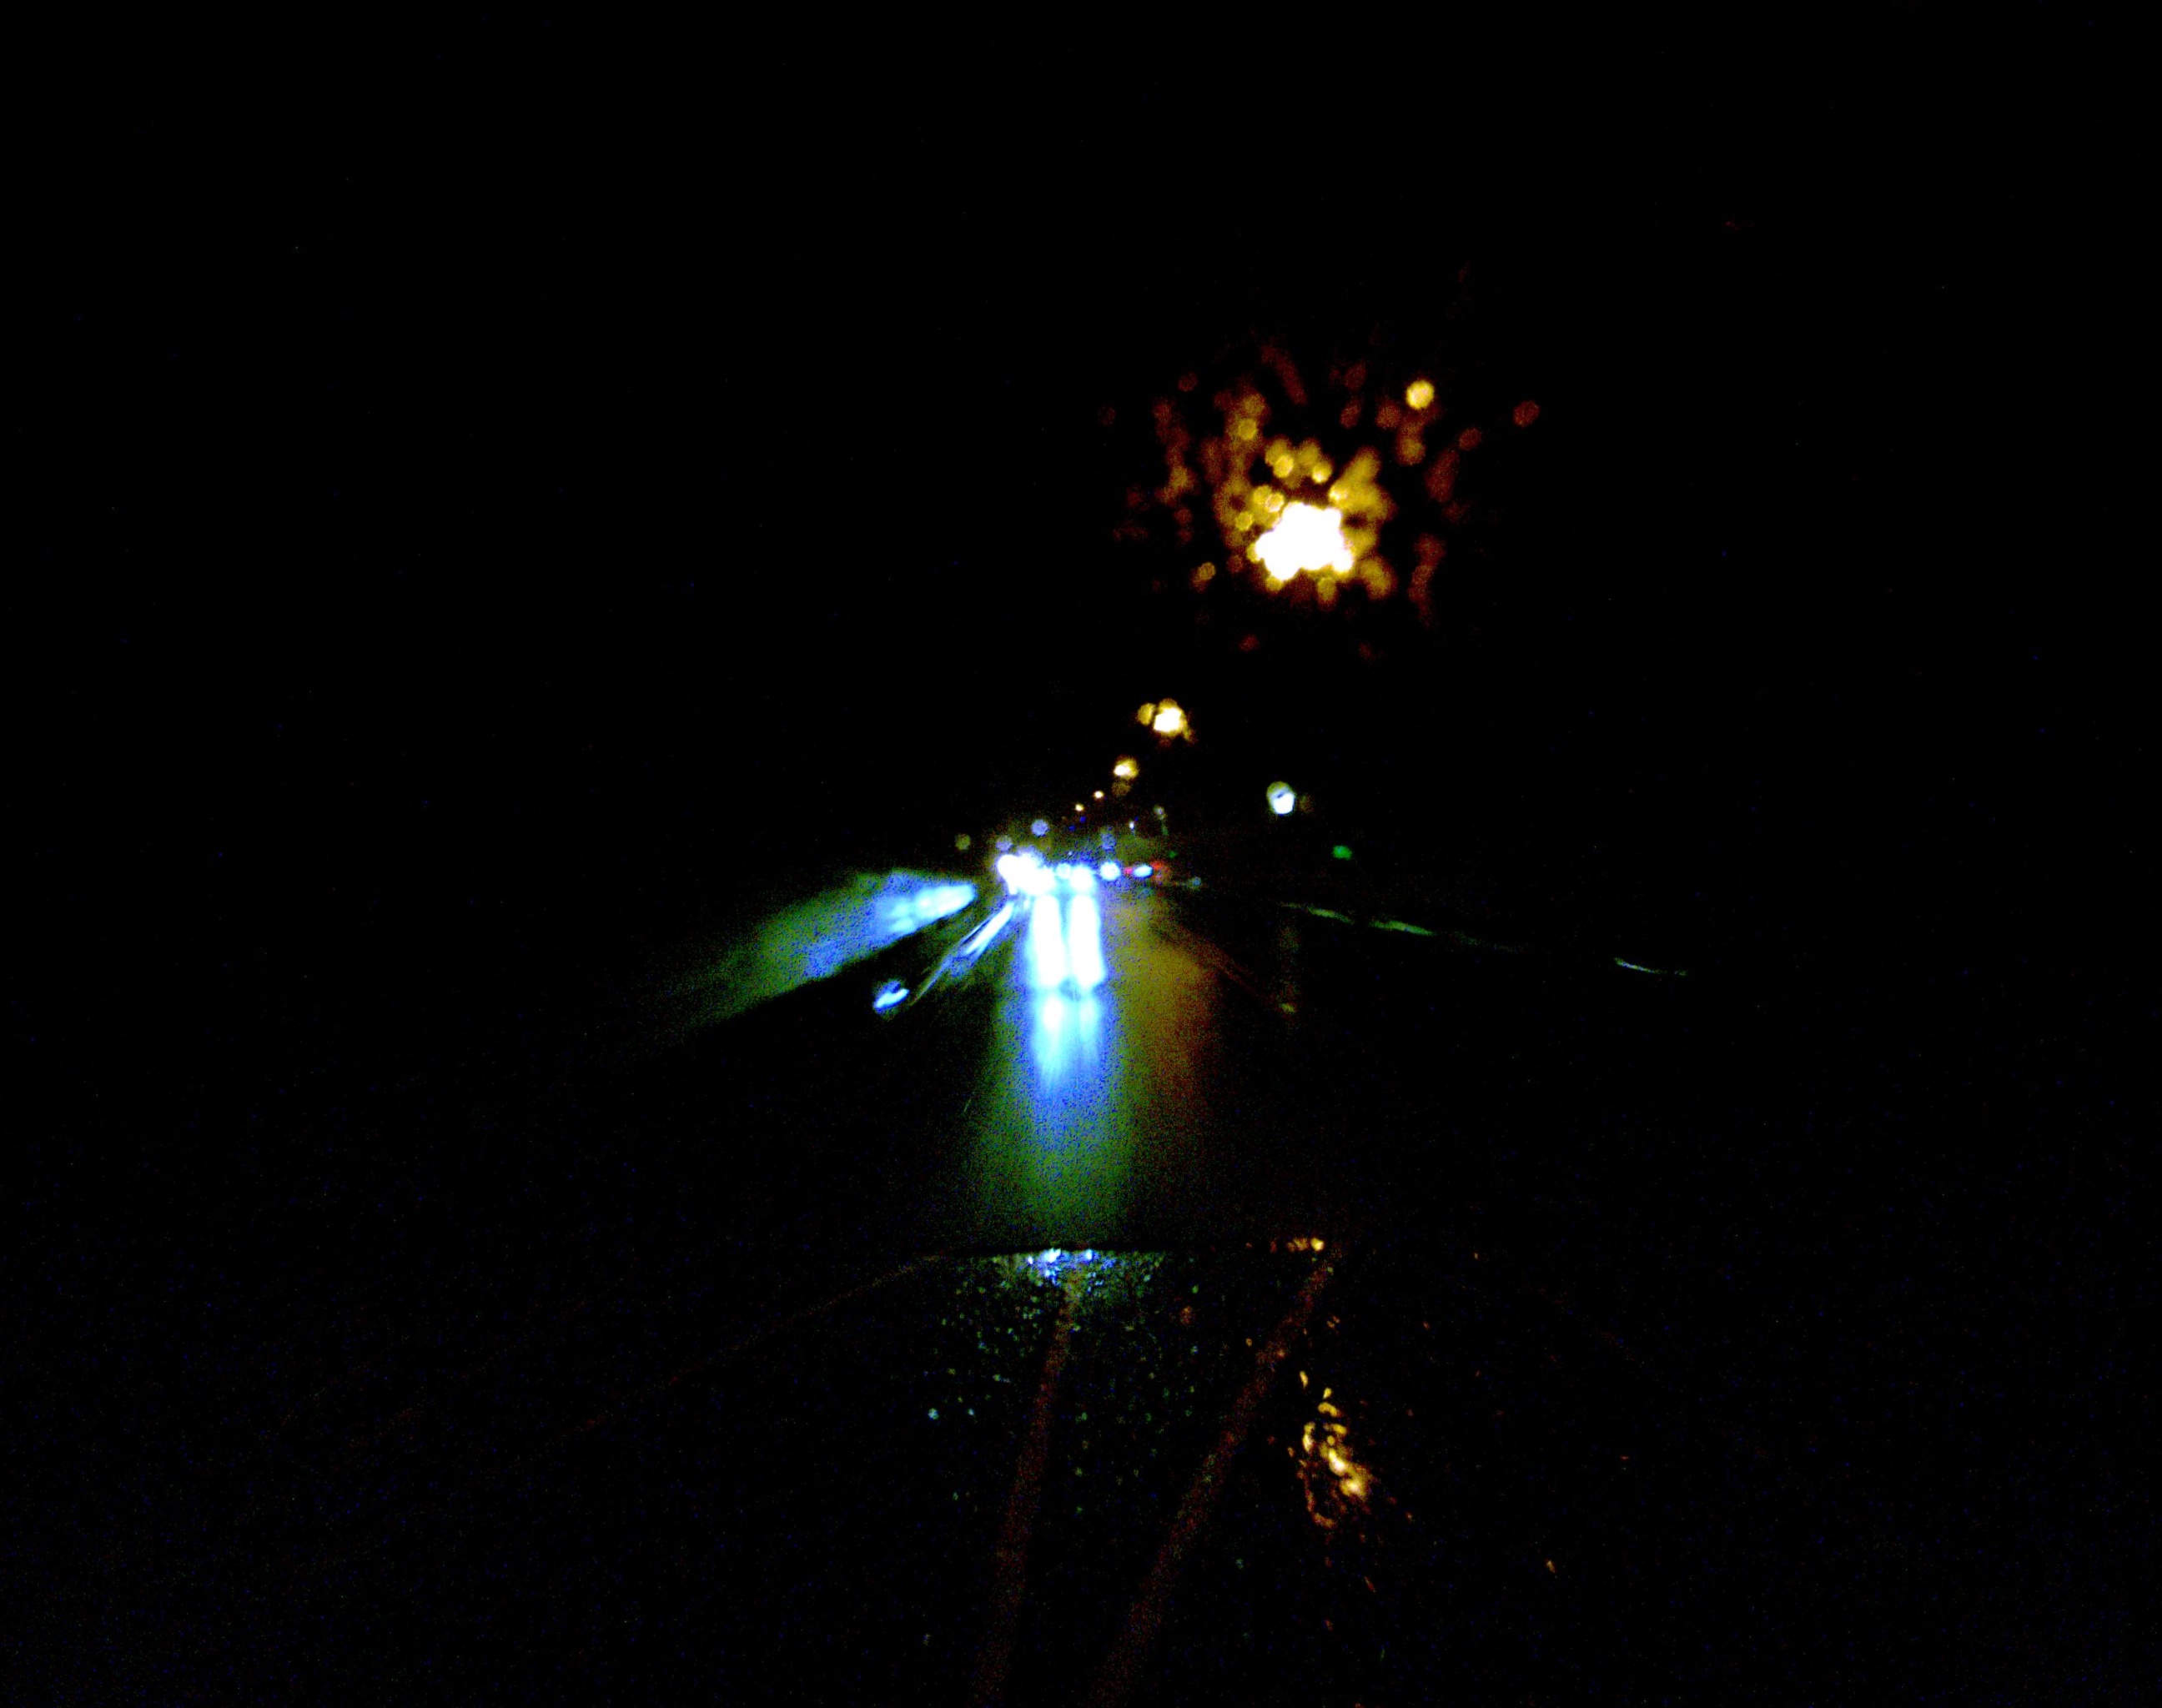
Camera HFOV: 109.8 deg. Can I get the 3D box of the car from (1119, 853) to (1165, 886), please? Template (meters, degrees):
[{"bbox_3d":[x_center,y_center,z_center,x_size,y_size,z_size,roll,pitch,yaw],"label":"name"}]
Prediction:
[{"bbox_3d":[2.856,0.686,36.403,1.717,1.370,4.584,-3,0,-1],"label":"car"}]

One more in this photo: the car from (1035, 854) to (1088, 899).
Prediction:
[{"bbox_3d":[-0.903,0.887,32.046,1.999,1.585,4.606,-3,1,-3],"label":"car"}]

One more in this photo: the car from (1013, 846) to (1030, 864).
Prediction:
[{"bbox_3d":[-7.097,0.105,90.443,1.900,2.002,3.997,-1,1,-6],"label":"car"}]

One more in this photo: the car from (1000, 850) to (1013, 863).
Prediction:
[{"bbox_3d":[-11.022,0.333,112.293,1.710,1.762,3.996,-1,1,-9],"label":"car"}]
